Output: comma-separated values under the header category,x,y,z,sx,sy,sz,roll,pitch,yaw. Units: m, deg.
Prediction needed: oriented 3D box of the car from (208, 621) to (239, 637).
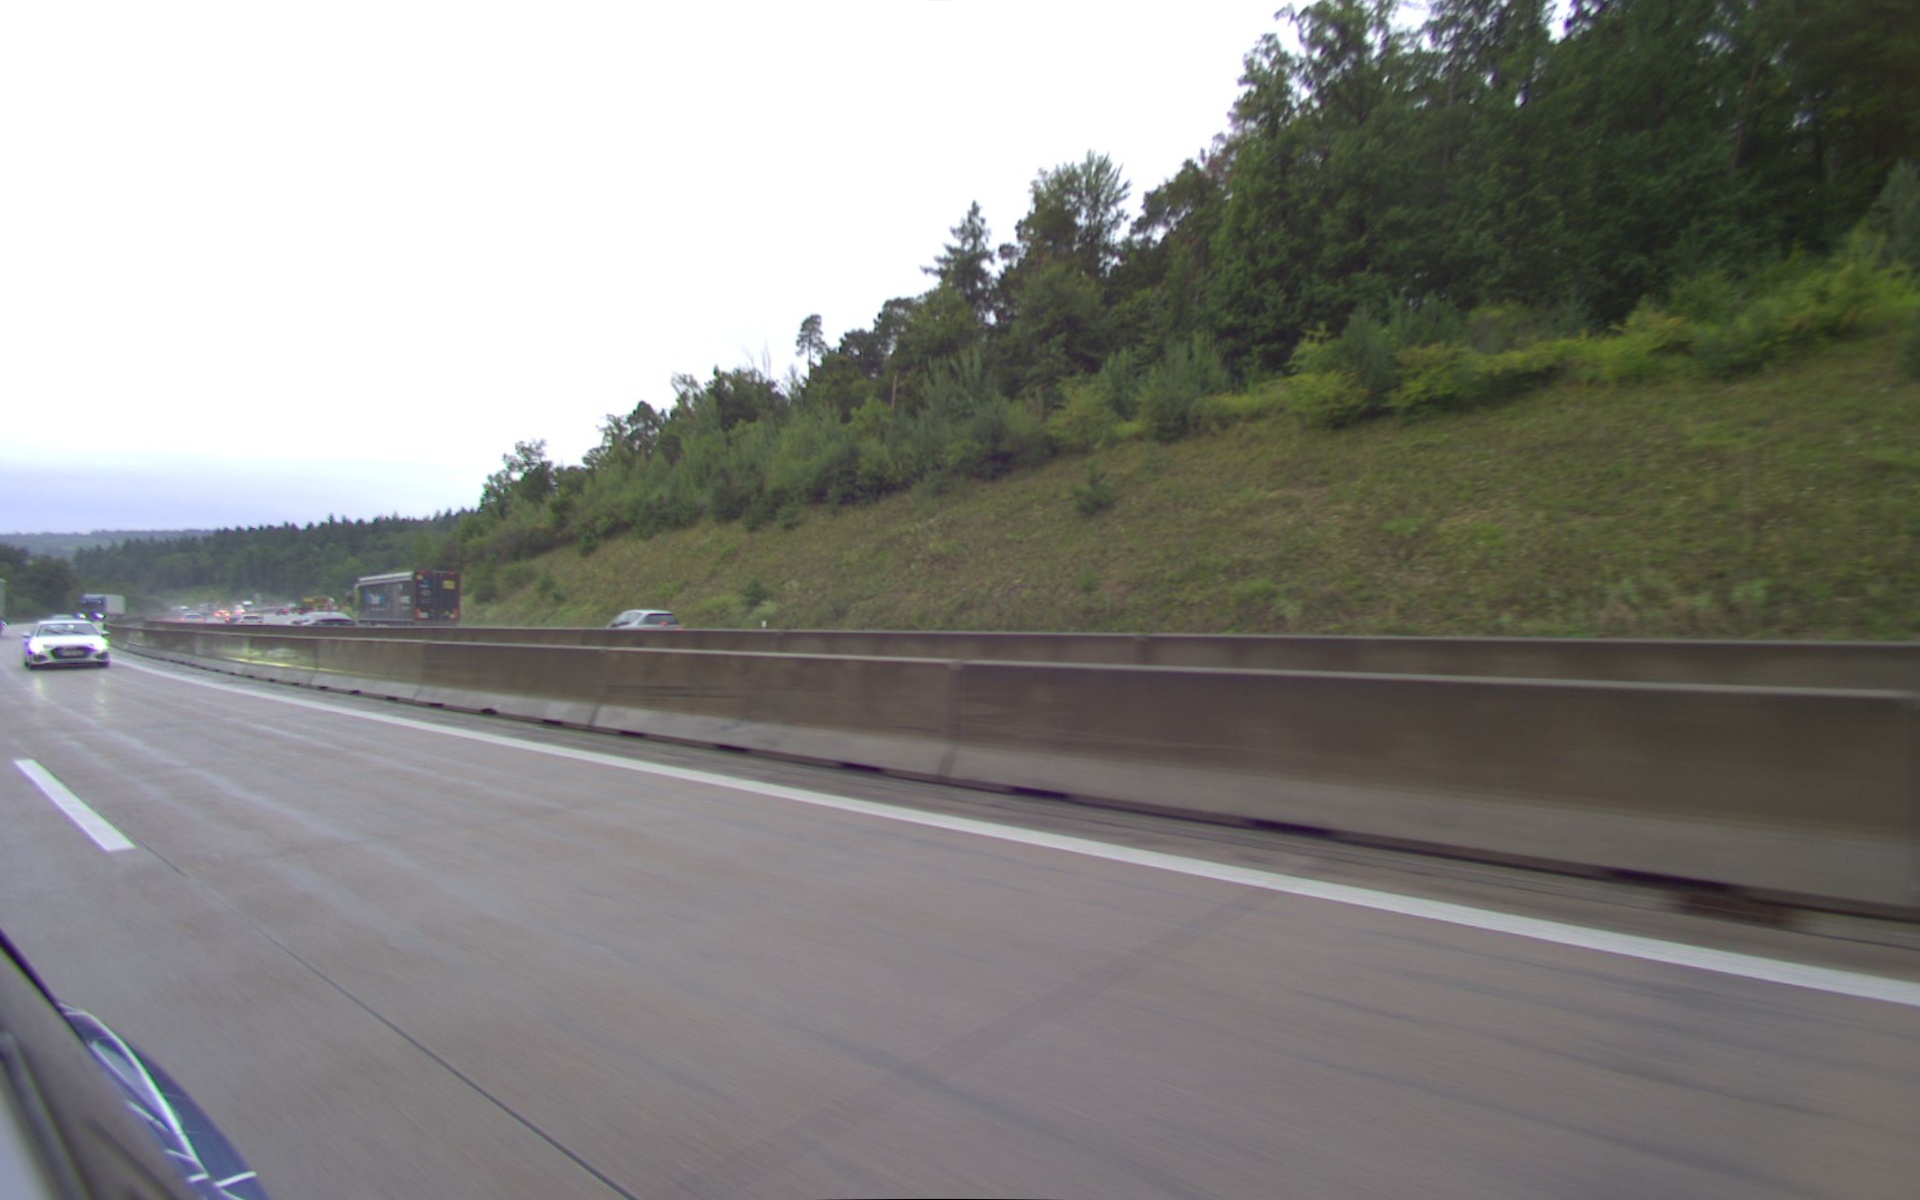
category,x,y,z,sx,sy,sz,roll,pitch,yaw
car,-76.182,2.948,104.643,1.970,1.597,4.776,0,-1,-44

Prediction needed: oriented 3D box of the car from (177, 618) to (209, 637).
category,x,y,z,sx,sy,sz,roll,pitch,yaw
car,-67.859,2.425,89.475,1.969,1.597,4.779,0,-1,-40

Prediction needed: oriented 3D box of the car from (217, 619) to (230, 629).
category,x,y,z,sx,sy,sz,roll,pitch,yaw
car,-118.586,3.795,162.951,1.718,1.573,4.294,0,-1,-36

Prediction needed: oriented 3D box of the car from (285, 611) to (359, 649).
category,x,y,z,sx,sy,sz,roll,pitch,yaw
car,-26.827,1.241,42.532,4.001,1.504,1.712,-1,-1,44

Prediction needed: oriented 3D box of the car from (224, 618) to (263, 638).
category,x,y,z,sx,sy,sz,roll,pitch,yaw
car,-60.425,2.356,85.343,1.970,1.597,4.776,0,-1,-44

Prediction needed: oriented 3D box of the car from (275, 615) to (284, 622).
category,x,y,z,sx,sy,sz,roll,pitch,yaw
car,-145.331,3.951,216.113,1.631,1.356,4.096,-1,0,-35

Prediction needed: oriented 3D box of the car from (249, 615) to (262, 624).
category,x,y,z,sx,sy,sz,roll,pitch,yaw
car,-118.326,3.245,169.964,1.719,1.573,4.293,0,-1,-37

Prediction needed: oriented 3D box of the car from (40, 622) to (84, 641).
category,x,y,z,sx,sy,sz,roll,pitch,yaw
car,-74.771,2.569,84.312,1.819,1.494,4.463,-1,-1,-29

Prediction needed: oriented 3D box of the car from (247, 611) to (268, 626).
category,x,y,z,sx,sy,sz,roll,pitch,yaw
car,-93.090,2.443,134.074,1.968,2.029,4.007,0,-1,-39

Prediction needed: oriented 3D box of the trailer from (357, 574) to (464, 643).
category,x,y,z,sx,sy,sz,roll,pitch,yaw
trailer,-35.273,0.604,64.563,2.892,3.990,13.479,0,-1,-42

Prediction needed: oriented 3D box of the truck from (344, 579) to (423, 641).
category,x,y,z,sx,sy,sz,roll,pitch,yaw
truck,-39.514,0.712,69.249,2.892,3.990,8.126,0,-1,-43

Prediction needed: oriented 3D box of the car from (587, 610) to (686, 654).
category,x,y,z,sx,sy,sz,roll,pitch,yaw
car,-11.817,1.134,36.848,4.001,1.504,1.712,-1,-1,44

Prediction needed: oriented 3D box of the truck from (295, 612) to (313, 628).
category,x,y,z,sx,sy,sz,roll,pitch,yaw
truck,-143.822,4.368,222.059,2.585,3.321,9.411,0,-1,-28

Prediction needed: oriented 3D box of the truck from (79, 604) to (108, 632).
category,x,y,z,sx,sy,sz,roll,pitch,yaw
truck,-131.790,2.799,153.998,2.695,4.183,8.641,-1,-1,-36

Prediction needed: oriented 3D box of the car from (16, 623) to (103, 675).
category,x,y,z,sx,sy,sz,roll,pitch,yaw
car,-27.156,1.422,30.462,1.693,1.418,4.938,0,-1,-45
